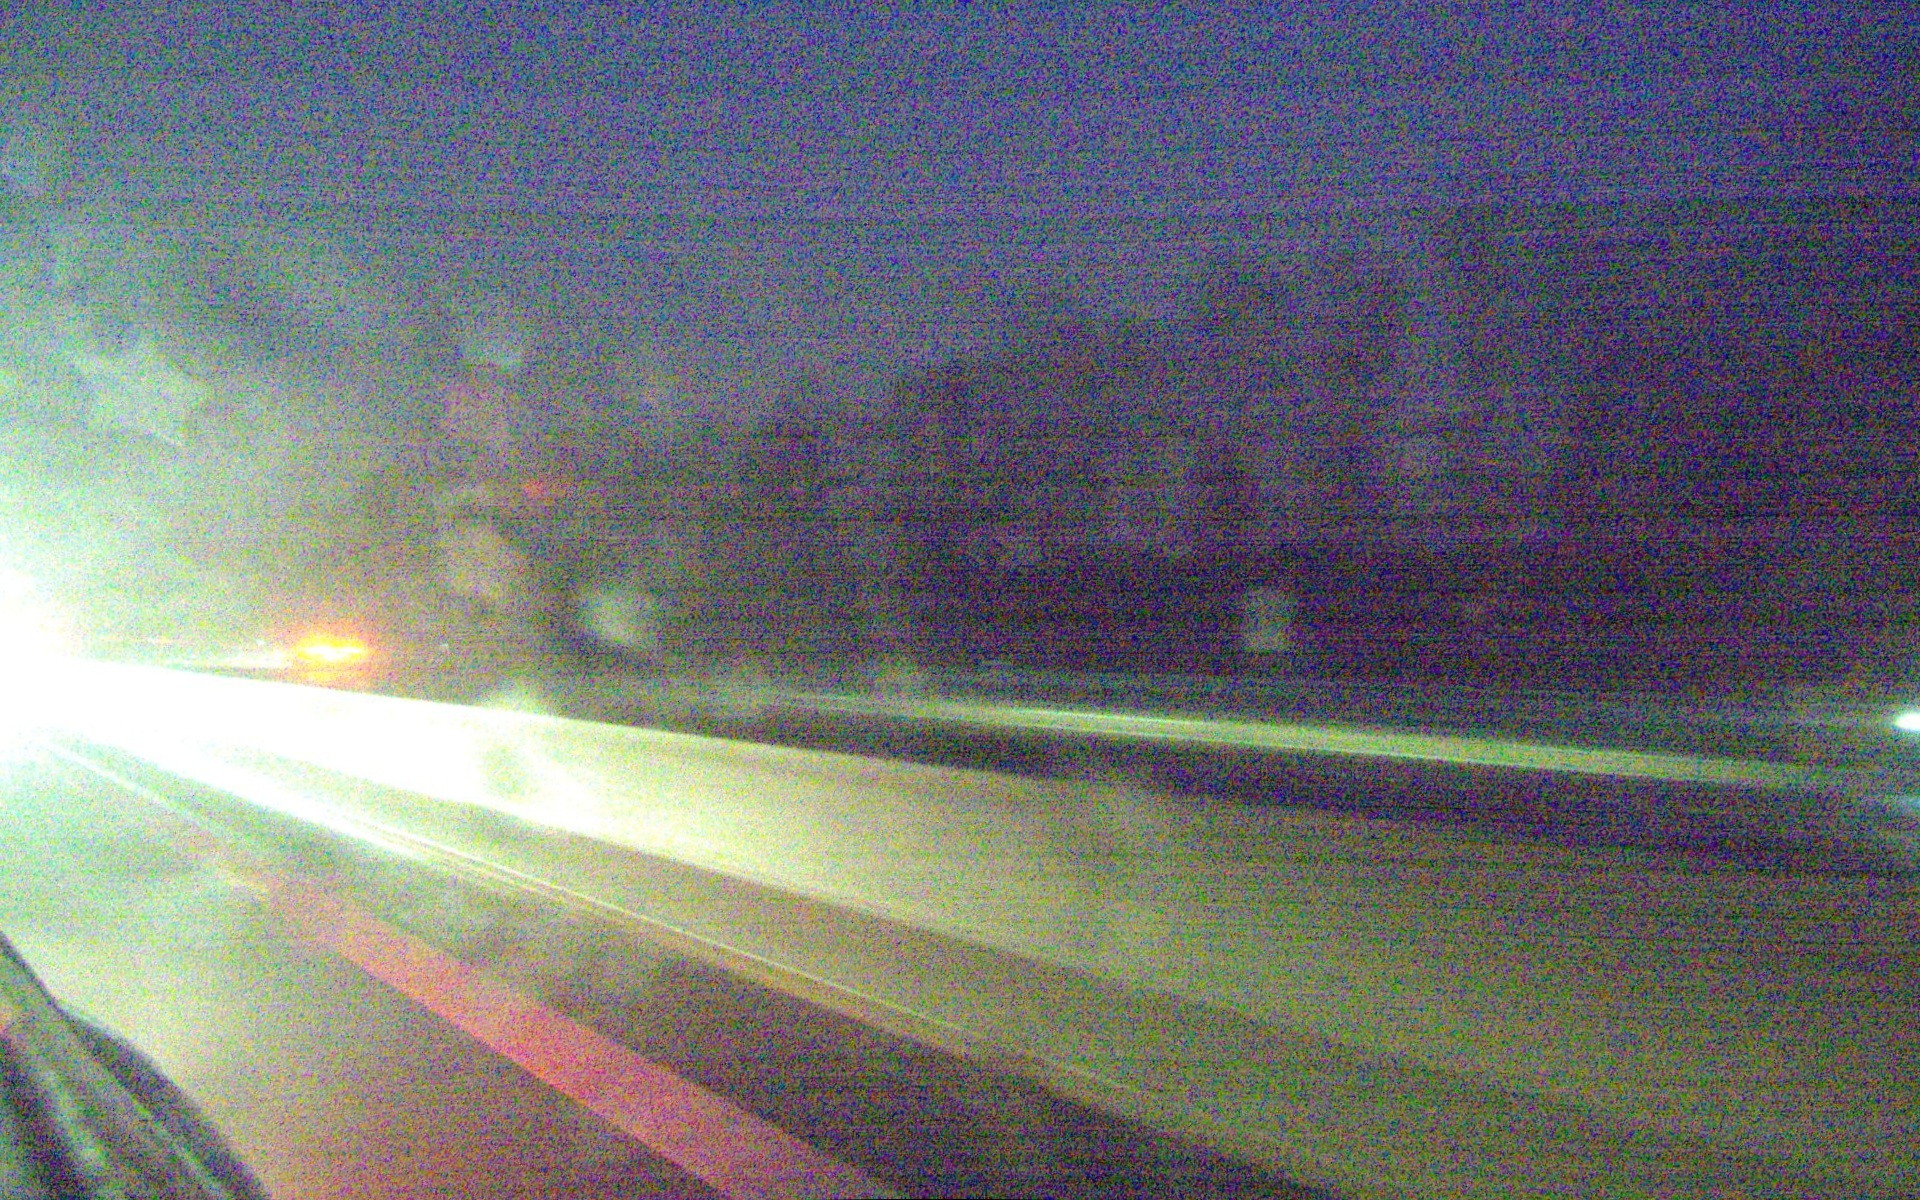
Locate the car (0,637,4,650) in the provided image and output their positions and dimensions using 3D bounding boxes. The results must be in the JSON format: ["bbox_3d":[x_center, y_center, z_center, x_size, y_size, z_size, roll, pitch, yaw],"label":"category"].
[{"bbox_3d":[-111.252,4.958,116.126,4.506,1.491,1.763,-2,-4,41],"label":"car"}]

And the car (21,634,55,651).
[{"bbox_3d":[-84.755,3.904,92.980,4.506,1.491,1.763,-2,-4,41],"label":"car"}]

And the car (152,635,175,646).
[{"bbox_3d":[-110.831,5.707,140.810,4.506,1.491,1.763,-2,-4,41],"label":"car"}]

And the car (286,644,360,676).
[{"bbox_3d":[-30.855,2.871,48.971,4.506,1.491,1.763,-2,-4,41],"label":"car"}]
